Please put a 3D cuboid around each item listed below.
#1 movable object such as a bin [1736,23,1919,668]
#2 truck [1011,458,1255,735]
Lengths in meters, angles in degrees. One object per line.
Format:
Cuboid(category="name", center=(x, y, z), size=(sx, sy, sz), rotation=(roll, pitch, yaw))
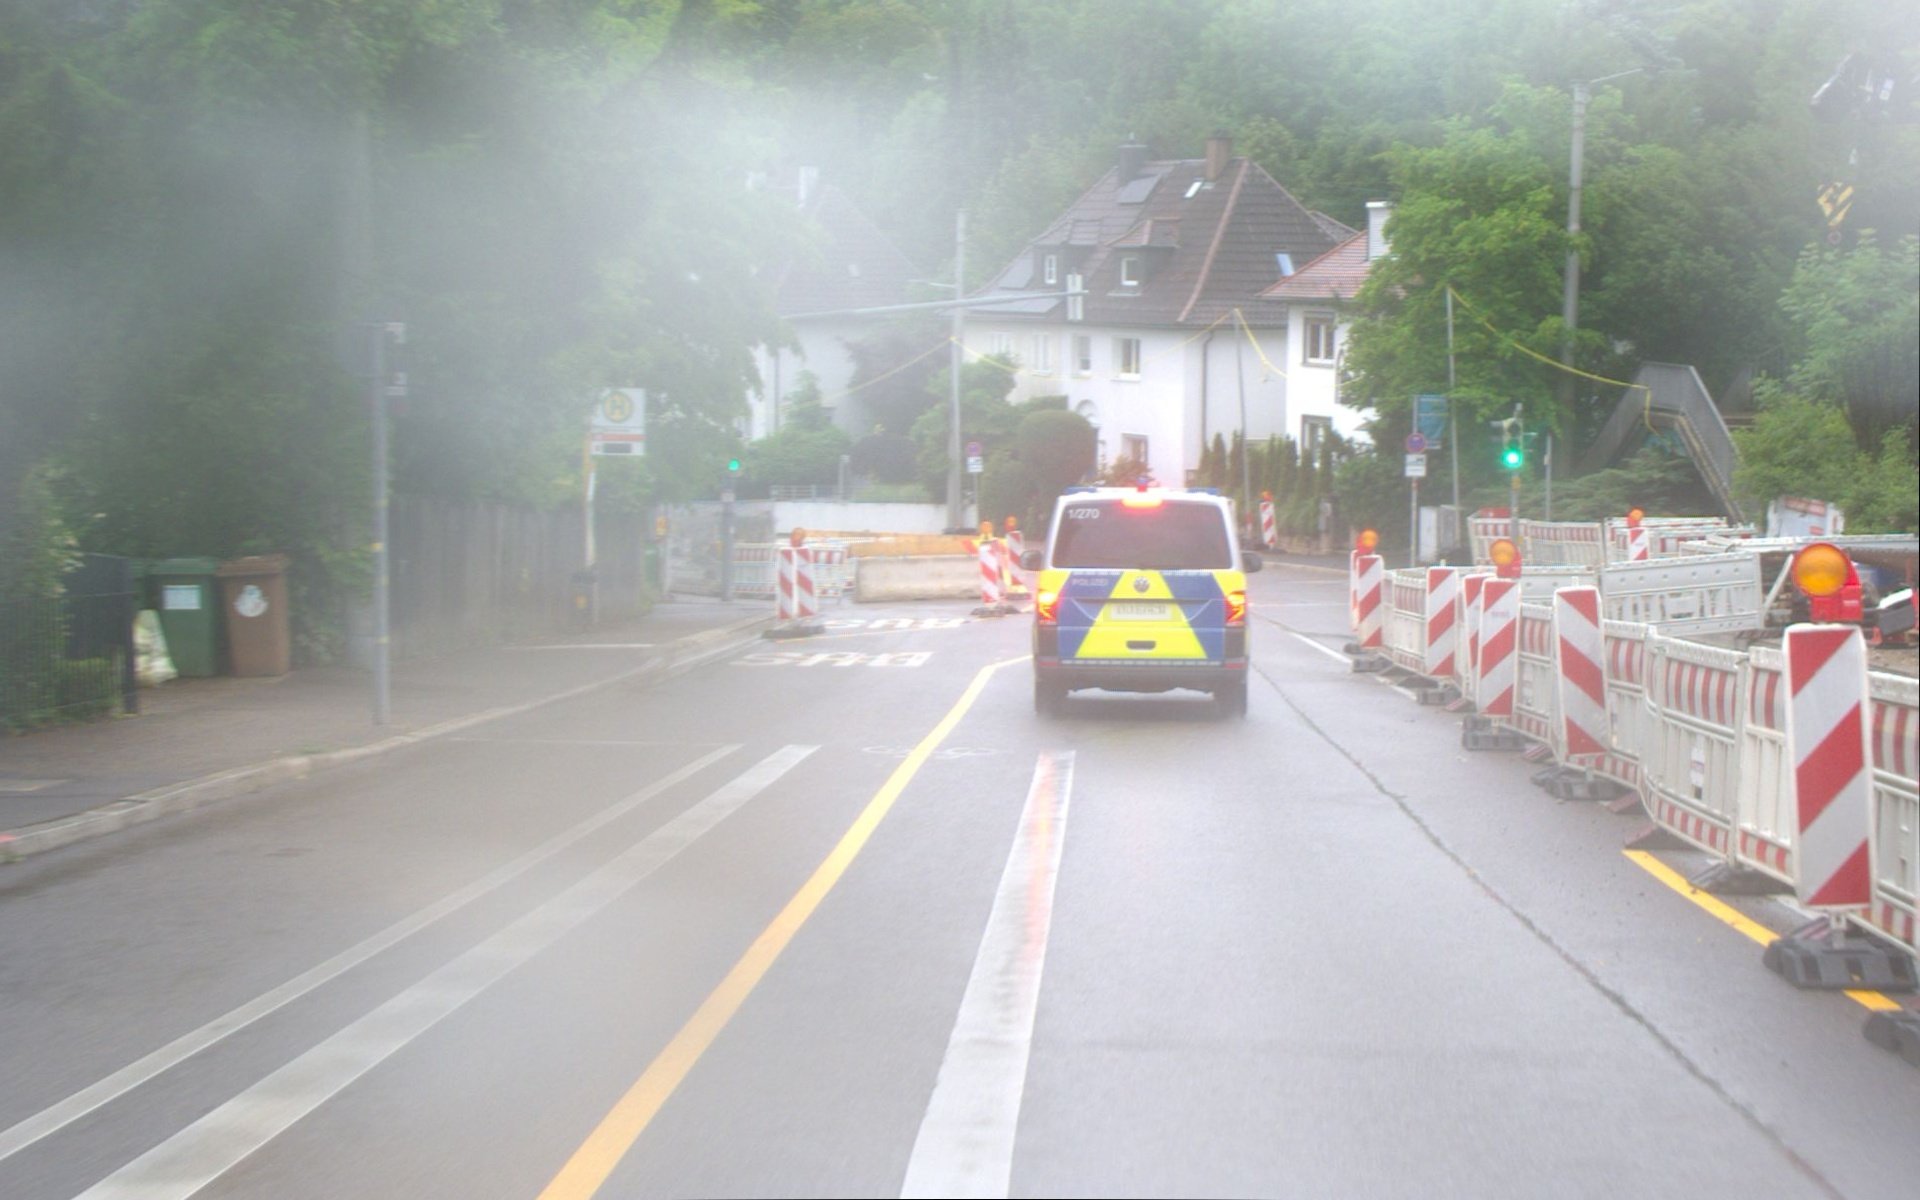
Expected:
Cuboid(category="movable object such as a bin", center=(12.272, -2.643, 37.196), size=(6.949, 6.666, 3.046), rotation=(0, 1, -1))
Cuboid(category="truck", center=(1.589, -0.117, 30.811), size=(1.994, 2.006, 4.736), rotation=(0, 6, 4))
